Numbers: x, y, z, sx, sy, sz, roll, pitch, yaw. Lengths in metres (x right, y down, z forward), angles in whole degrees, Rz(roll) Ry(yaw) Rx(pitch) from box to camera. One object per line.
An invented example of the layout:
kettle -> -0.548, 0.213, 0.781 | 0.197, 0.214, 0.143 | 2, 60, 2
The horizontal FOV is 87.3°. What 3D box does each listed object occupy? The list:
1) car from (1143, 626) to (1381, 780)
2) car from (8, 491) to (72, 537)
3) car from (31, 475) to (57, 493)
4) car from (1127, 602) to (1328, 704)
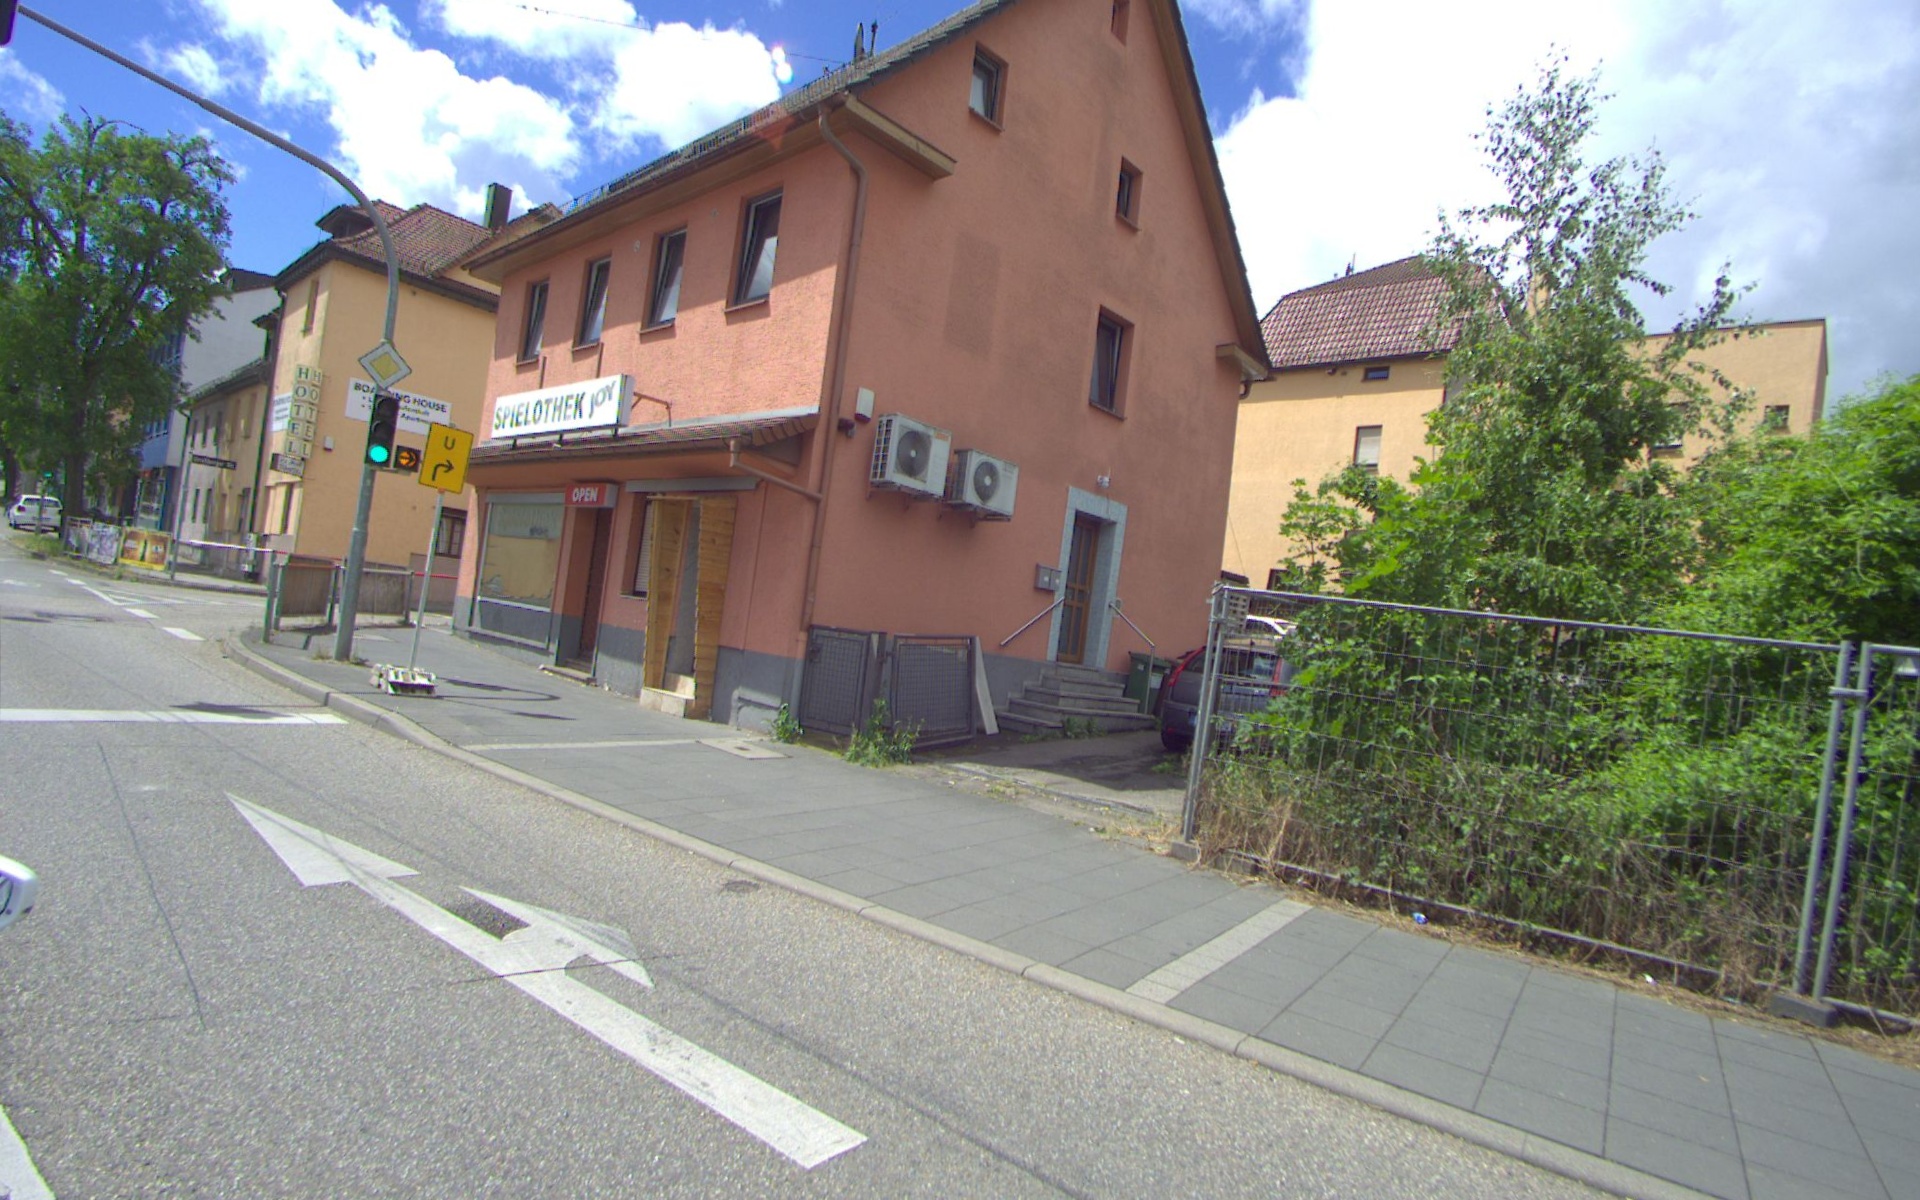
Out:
car -> 3.796, 1.199, 12.478 | 1.627, 1.516, 2.796 | 7, 2, 43
car -> -39.441, -3.674, 43.097 | 1.782, 1.615, 3.950 | 7, -1, -45
car -> -112.163, -14.173, 123.212 | 1.985, 1.682, 3.957 | 7, -1, -39
car -> 6.214, 1.220, 23.644 | 3.947, 1.804, 1.990 | 7, -1, 44
